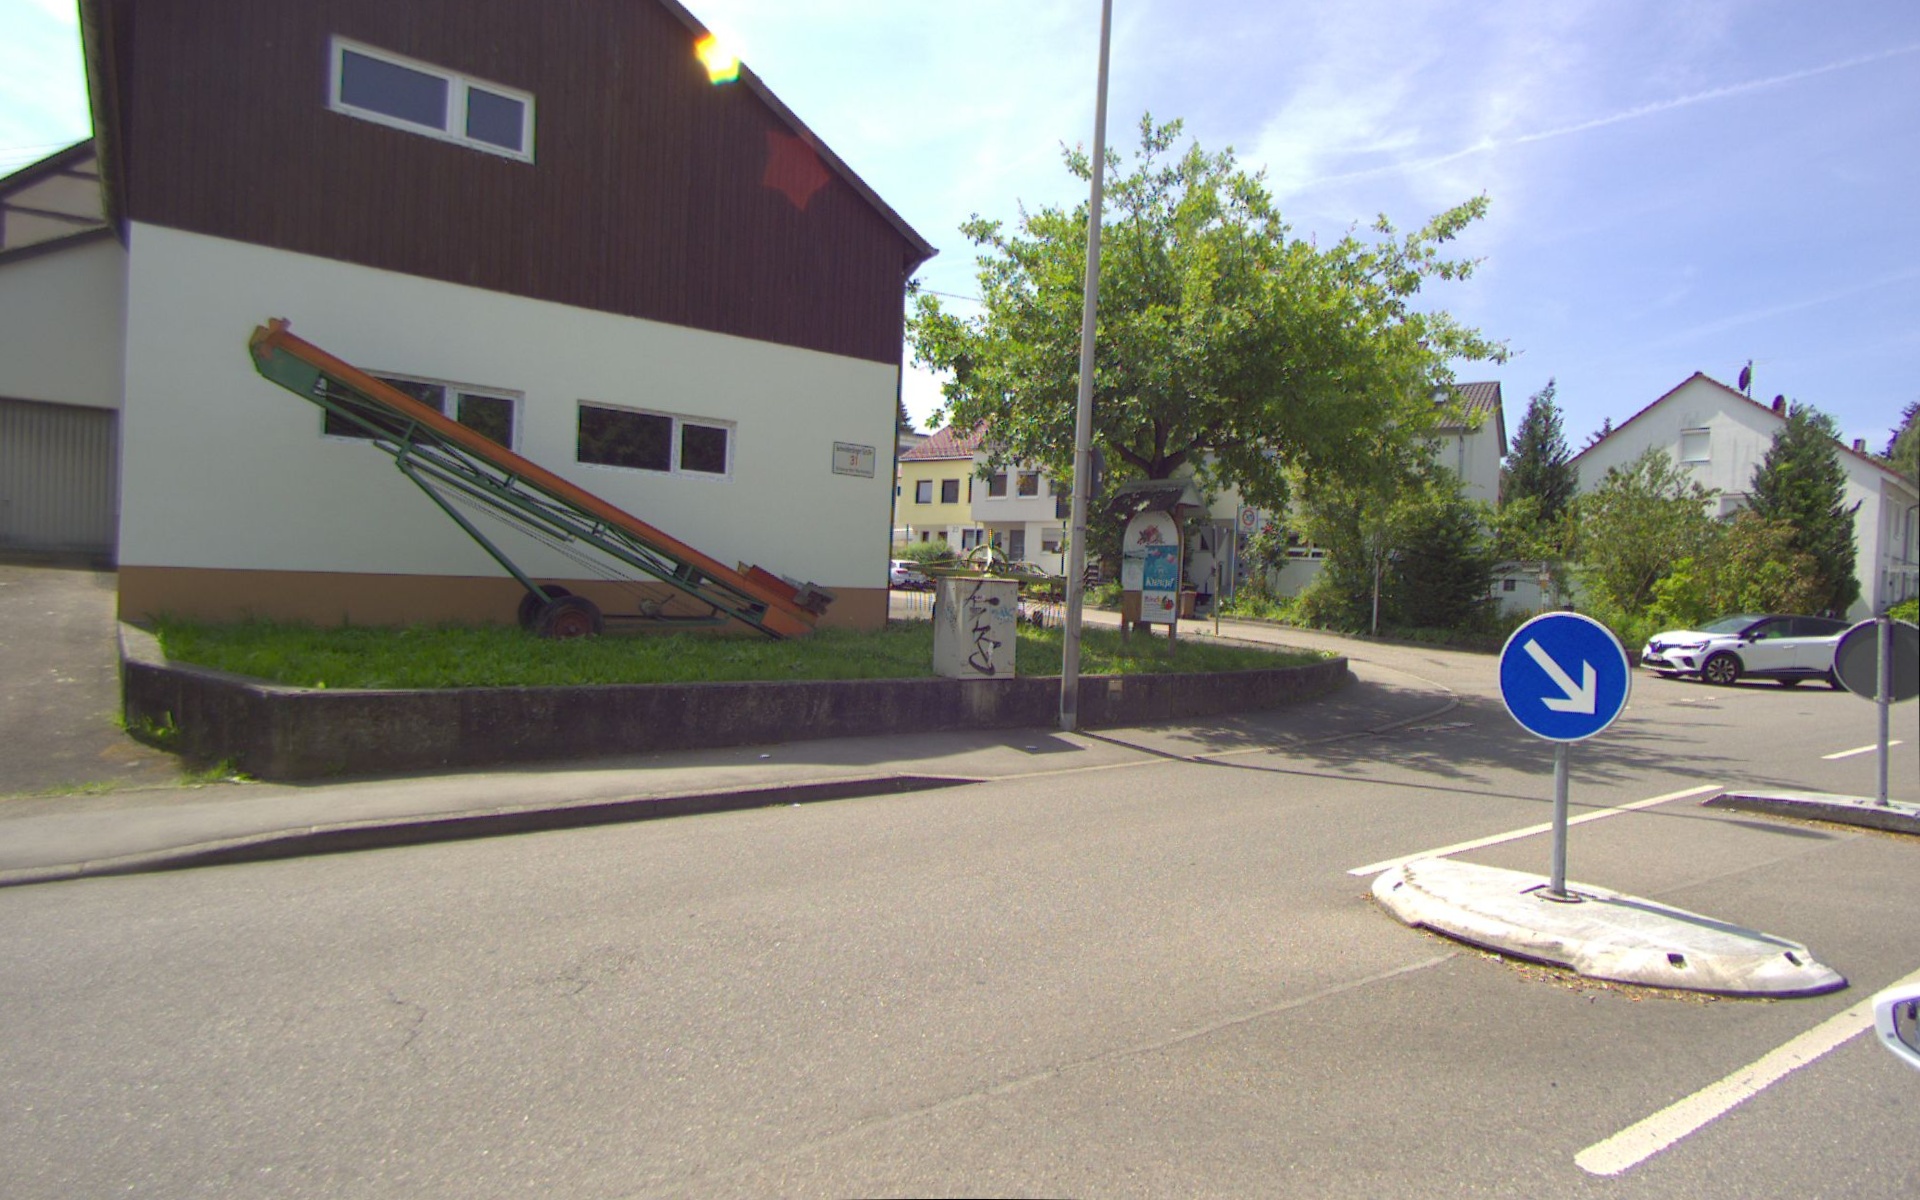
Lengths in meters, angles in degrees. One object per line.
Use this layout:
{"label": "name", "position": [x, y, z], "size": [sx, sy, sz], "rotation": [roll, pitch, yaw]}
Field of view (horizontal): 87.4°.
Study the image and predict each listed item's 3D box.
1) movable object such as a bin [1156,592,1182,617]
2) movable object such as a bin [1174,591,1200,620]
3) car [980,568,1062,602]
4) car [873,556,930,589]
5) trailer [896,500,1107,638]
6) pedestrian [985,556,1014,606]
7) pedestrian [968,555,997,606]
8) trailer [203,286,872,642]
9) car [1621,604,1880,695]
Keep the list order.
{"label": "movable object such as a bin", "position": [7.170, 0.161, 34.487], "size": [0.596, 0.821, 0.636], "rotation": [1, 2, -26]}
{"label": "movable object such as a bin", "position": [7.588, 0.176, 33.526], "size": [0.584, 0.902, 0.576], "rotation": [1, 3, -25]}
{"label": "car", "position": [2.859, -0.679, 46.335], "size": [3.767, 1.400, 1.541], "rotation": [1, 4, -42]}
{"label": "car", "position": [-2.924, -1.357, 49.636], "size": [1.512, 1.417, 3.115], "rotation": [2, 3, -29]}
{"label": "trailer", "position": [0.444, -0.489, 15.265], "size": [2.712, 1.714, 3.704], "rotation": [3, 3, -5]}
{"label": "pedestrian", "position": [1.313, -0.626, 33.195], "size": [0.580, 1.595, 0.721], "rotation": [4, 0, -28]}
{"label": "pedestrian", "position": [0.738, -0.643, 32.928], "size": [0.592, 1.595, 0.714], "rotation": [4, 0, -28]}
{"label": "trailer", "position": [-4.044, -1.086, 10.563], "size": [6.108, 2.887, 1.702], "rotation": [1, 1, -33]}
{"label": "car", "position": [17.035, 1.042, 21.790], "size": [4.089, 1.550, 1.788], "rotation": [4, 3, -1]}
